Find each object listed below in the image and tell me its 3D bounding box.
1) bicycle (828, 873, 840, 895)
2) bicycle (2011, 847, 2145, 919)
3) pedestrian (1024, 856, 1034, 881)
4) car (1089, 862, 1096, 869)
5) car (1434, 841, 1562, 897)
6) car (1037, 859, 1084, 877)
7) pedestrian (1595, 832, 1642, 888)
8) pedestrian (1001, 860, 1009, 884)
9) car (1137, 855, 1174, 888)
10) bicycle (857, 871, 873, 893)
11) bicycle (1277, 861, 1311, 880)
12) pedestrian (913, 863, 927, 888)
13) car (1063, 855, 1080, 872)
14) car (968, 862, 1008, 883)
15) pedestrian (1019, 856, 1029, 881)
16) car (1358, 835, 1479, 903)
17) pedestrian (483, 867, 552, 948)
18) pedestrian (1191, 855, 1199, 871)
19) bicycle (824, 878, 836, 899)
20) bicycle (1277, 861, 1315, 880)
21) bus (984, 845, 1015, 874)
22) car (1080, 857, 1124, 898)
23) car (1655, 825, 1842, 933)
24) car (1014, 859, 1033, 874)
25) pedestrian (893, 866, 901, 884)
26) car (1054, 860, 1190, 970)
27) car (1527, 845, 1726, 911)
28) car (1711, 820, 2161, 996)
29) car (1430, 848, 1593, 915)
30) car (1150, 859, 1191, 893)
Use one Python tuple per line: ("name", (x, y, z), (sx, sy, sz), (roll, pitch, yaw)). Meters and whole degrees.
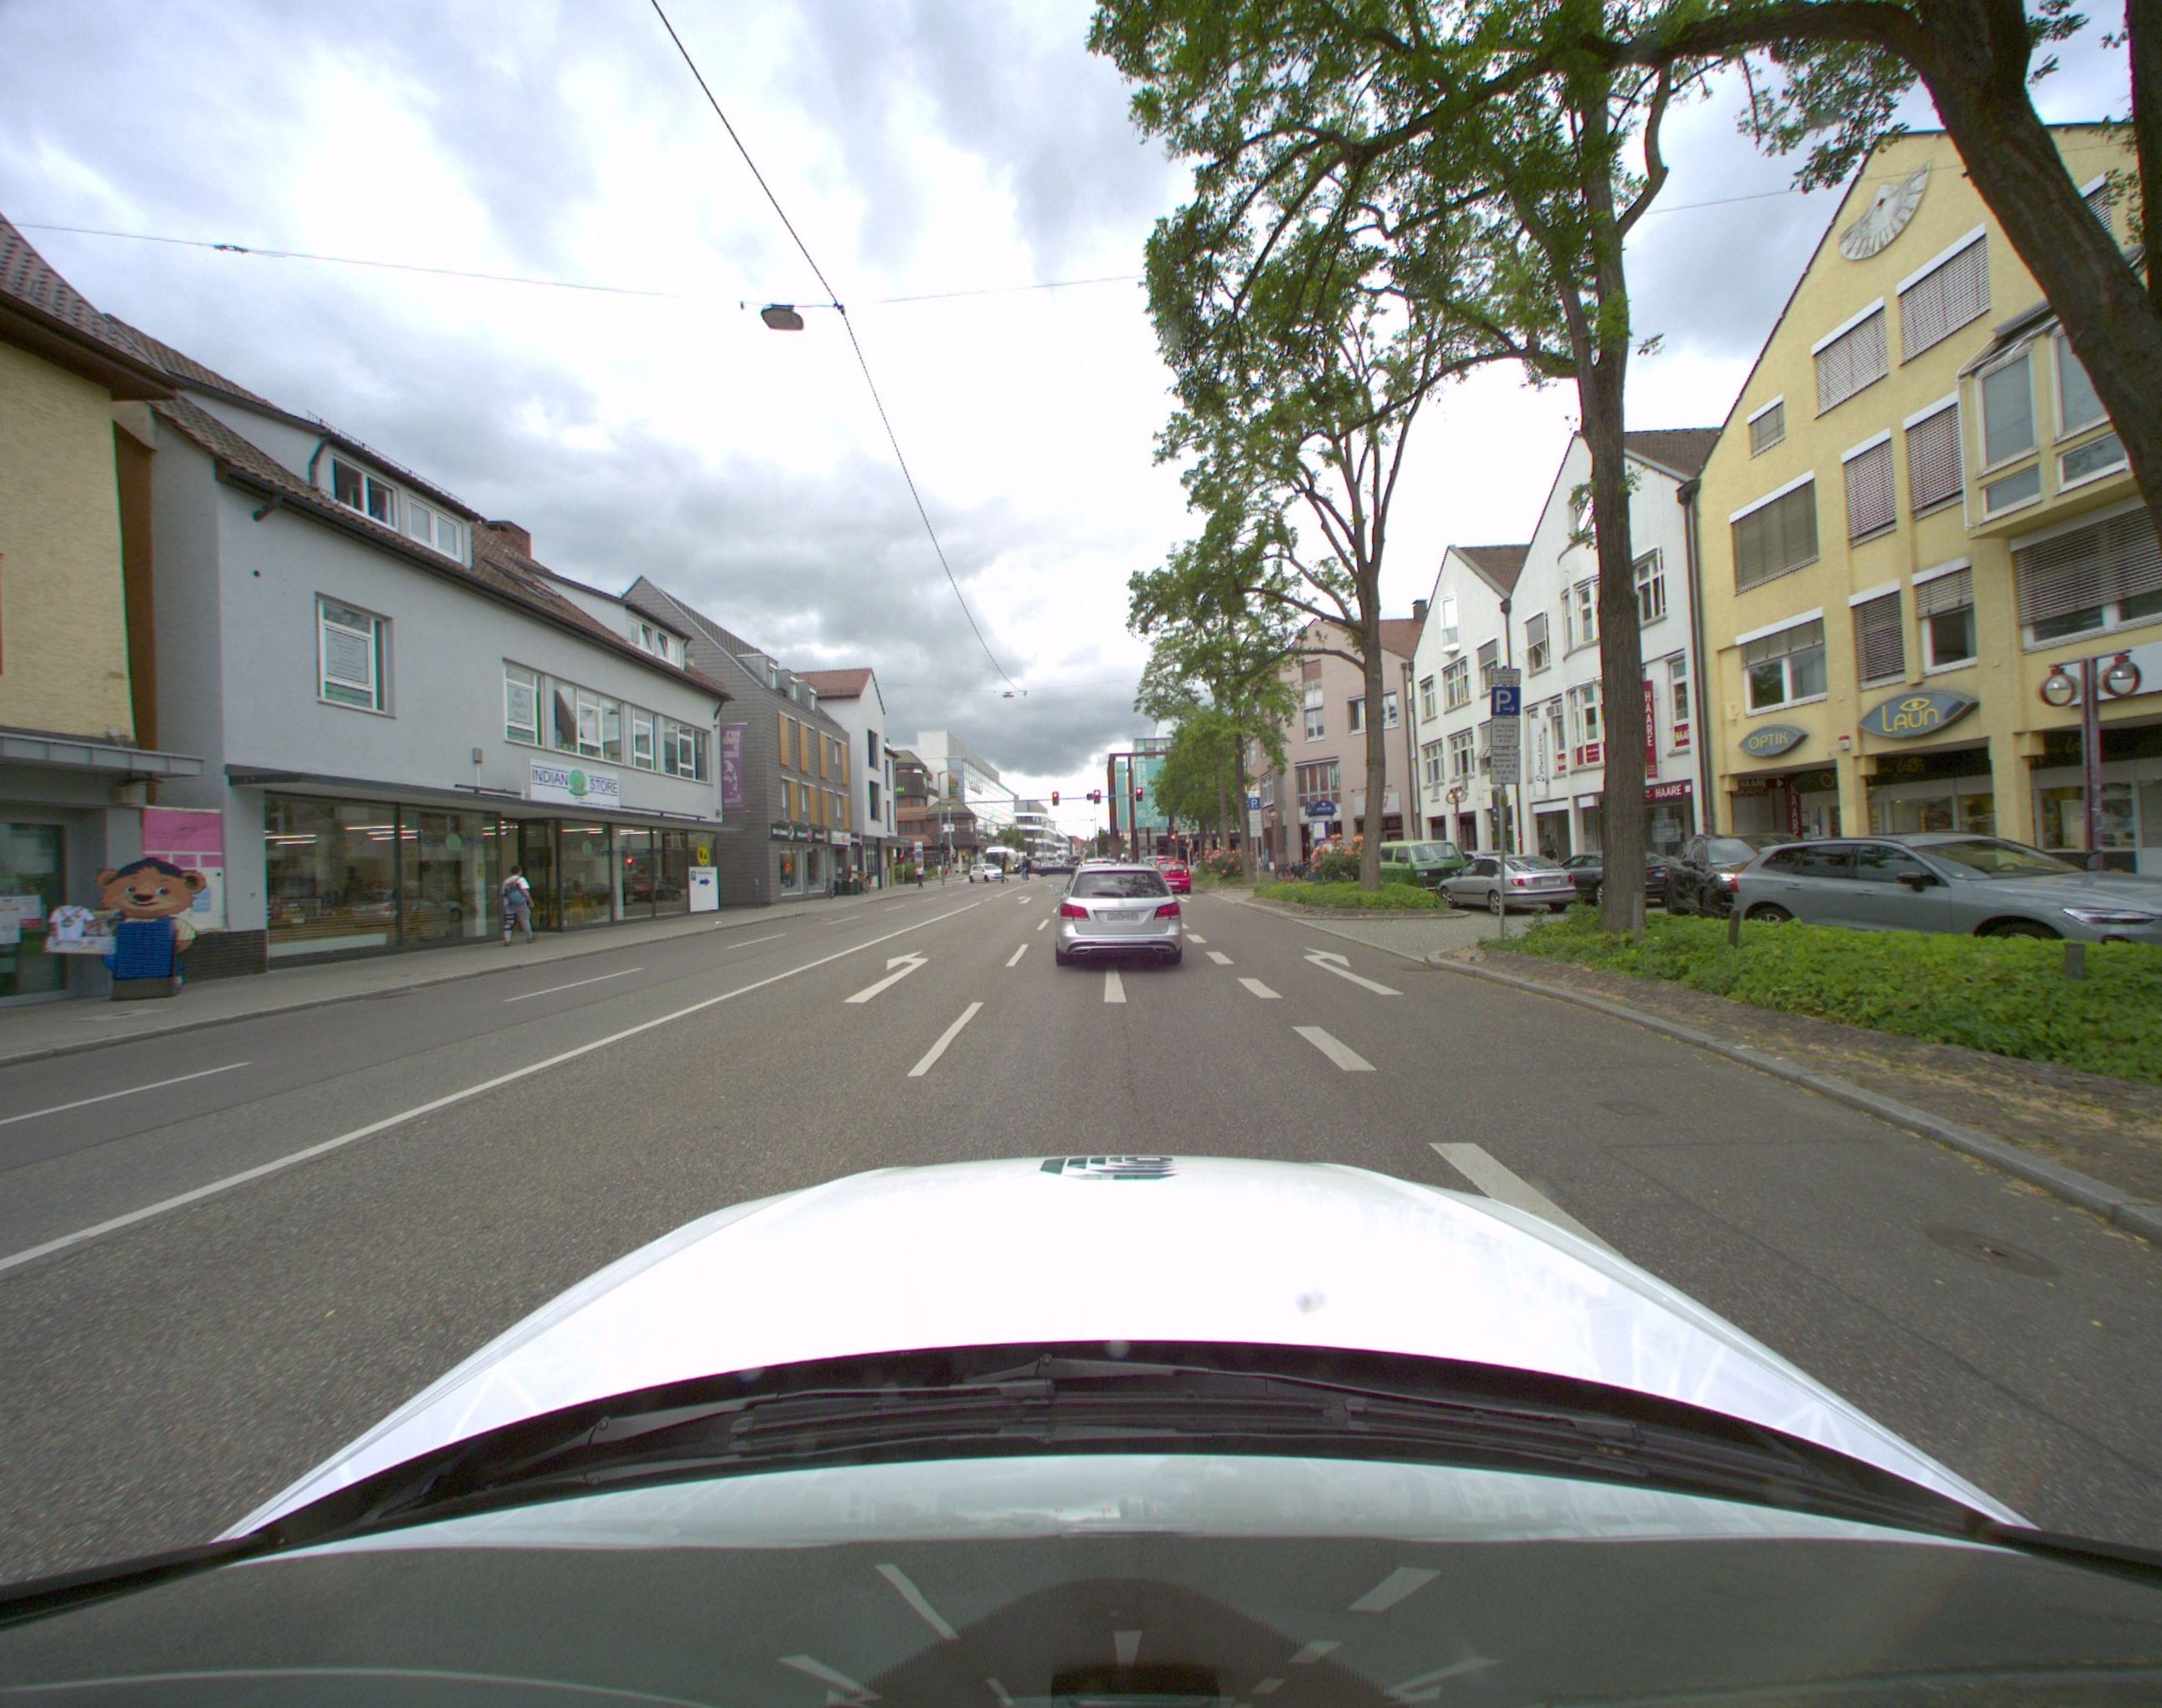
("bicycle", (-13.291, 1.604, 43.873), (0.386, 1.127, 1.286), (-2, -1, -9))
("bicycle", (15.596, 0.433, 12.786), (0.390, 1.044, 1.379), (-3, -1, 1))
("pedestrian", (-3.744, 1.052, 58.403), (0.643, 1.775, 0.569), (-2, -1, -4))
("car", (2.831, 2.787, 204.067), (1.710, 1.706, 4.064), (-2, 0, 0))
("car", (13.312, 0.452, 26.328), (1.790, 1.542, 4.393), (-3, 0, -1))
("car", (-1.851, 1.246, 75.172), (4.172, 1.530, 1.790), (-2, -1, 1))
("pedestrian", (16.633, 0.196, 25.220), (0.786, 1.659, 0.819), (-4, -1, 1))
("pedestrian", (-5.448, 1.293, 58.380), (0.557, 1.650, 0.652), (-2, -1, -8))
("car", (3.814, 0.875, 42.367), (1.581, 1.634, 3.915), (0, 0, 0))
("bicycle", (-12.311, 1.604, 46.471), (0.385, 1.186, 1.825), (-2, 0, -2))
("bicycle", (11.690, 0.920, 44.736), (1.760, 0.997, 0.447), (-2, -1, 5))
("pedestrian", (-10.511, 1.376, 53.129), (0.725, 1.610, 0.753), (-2, -1, 1))
("car", (-1.188, 1.185, 103.057), (1.986, 1.949, 4.952), (-2, 0, 2))
("car", (-7.430, 1.493, 65.116), (1.587, 1.488, 3.424), (-3, -1, -38))
("pedestrian", (-4.057, 1.027, 57.752), (0.645, 1.790, 0.683), (-2, -1, -4))
("car", (10.658, 0.466, 26.130), (1.874, 1.876, 4.604), (-3, 0, -1))
("pedestrian", (-12.233, 1.140, 17.707), (0.751, 1.705, 0.981), (1, -1, 1))
("pedestrian", (11.870, 0.960, 84.928), (0.652, 1.650, 0.557), (-2, -1, -13))
("bicycle", (-12.150, 1.676, 39.507), (0.326, 0.954, 1.478), (-2, -1, -9))
("bicycle", (11.665, 0.895, 44.190), (1.892, 0.997, 0.468), (-2, -1, 5))
("bus", (-9.920, 0.681, 100.015), (2.678, 3.261, 8.652), (-2, 0, 0))
("car", (0.844, 0.906, 32.764), (1.634, 1.527, 3.394), (-1, 0, 1))
("car", (12.178, 0.383, 15.206), (1.835, 1.670, 4.692), (-4, -1, 29))
("car", (-6.830, 1.503, 97.187), (1.987, 1.706, 4.064), (-2, 0, 0))
("pedestrian", (-15.193, 1.741, 67.222), (0.448, 1.428, 0.441), (-2, -1, 2))
("car", (0.498, 0.835, 13.002), (1.810, 1.448, 4.366), (0, -1, -2))
("car", (13.557, 0.553, 20.639), (1.991, 1.376, 4.417), (-3, 0, -1))
("car", (10.550, 0.487, 9.883), (1.988, 1.595, 4.760), (-2, 0, -2))
("car", (10.804, 0.648, 20.857), (1.757, 1.450, 4.417), (-2, 0, -1))
("car", (3.935, 0.947, 36.250), (1.581, 1.443, 3.349), (0, 0, 1))
